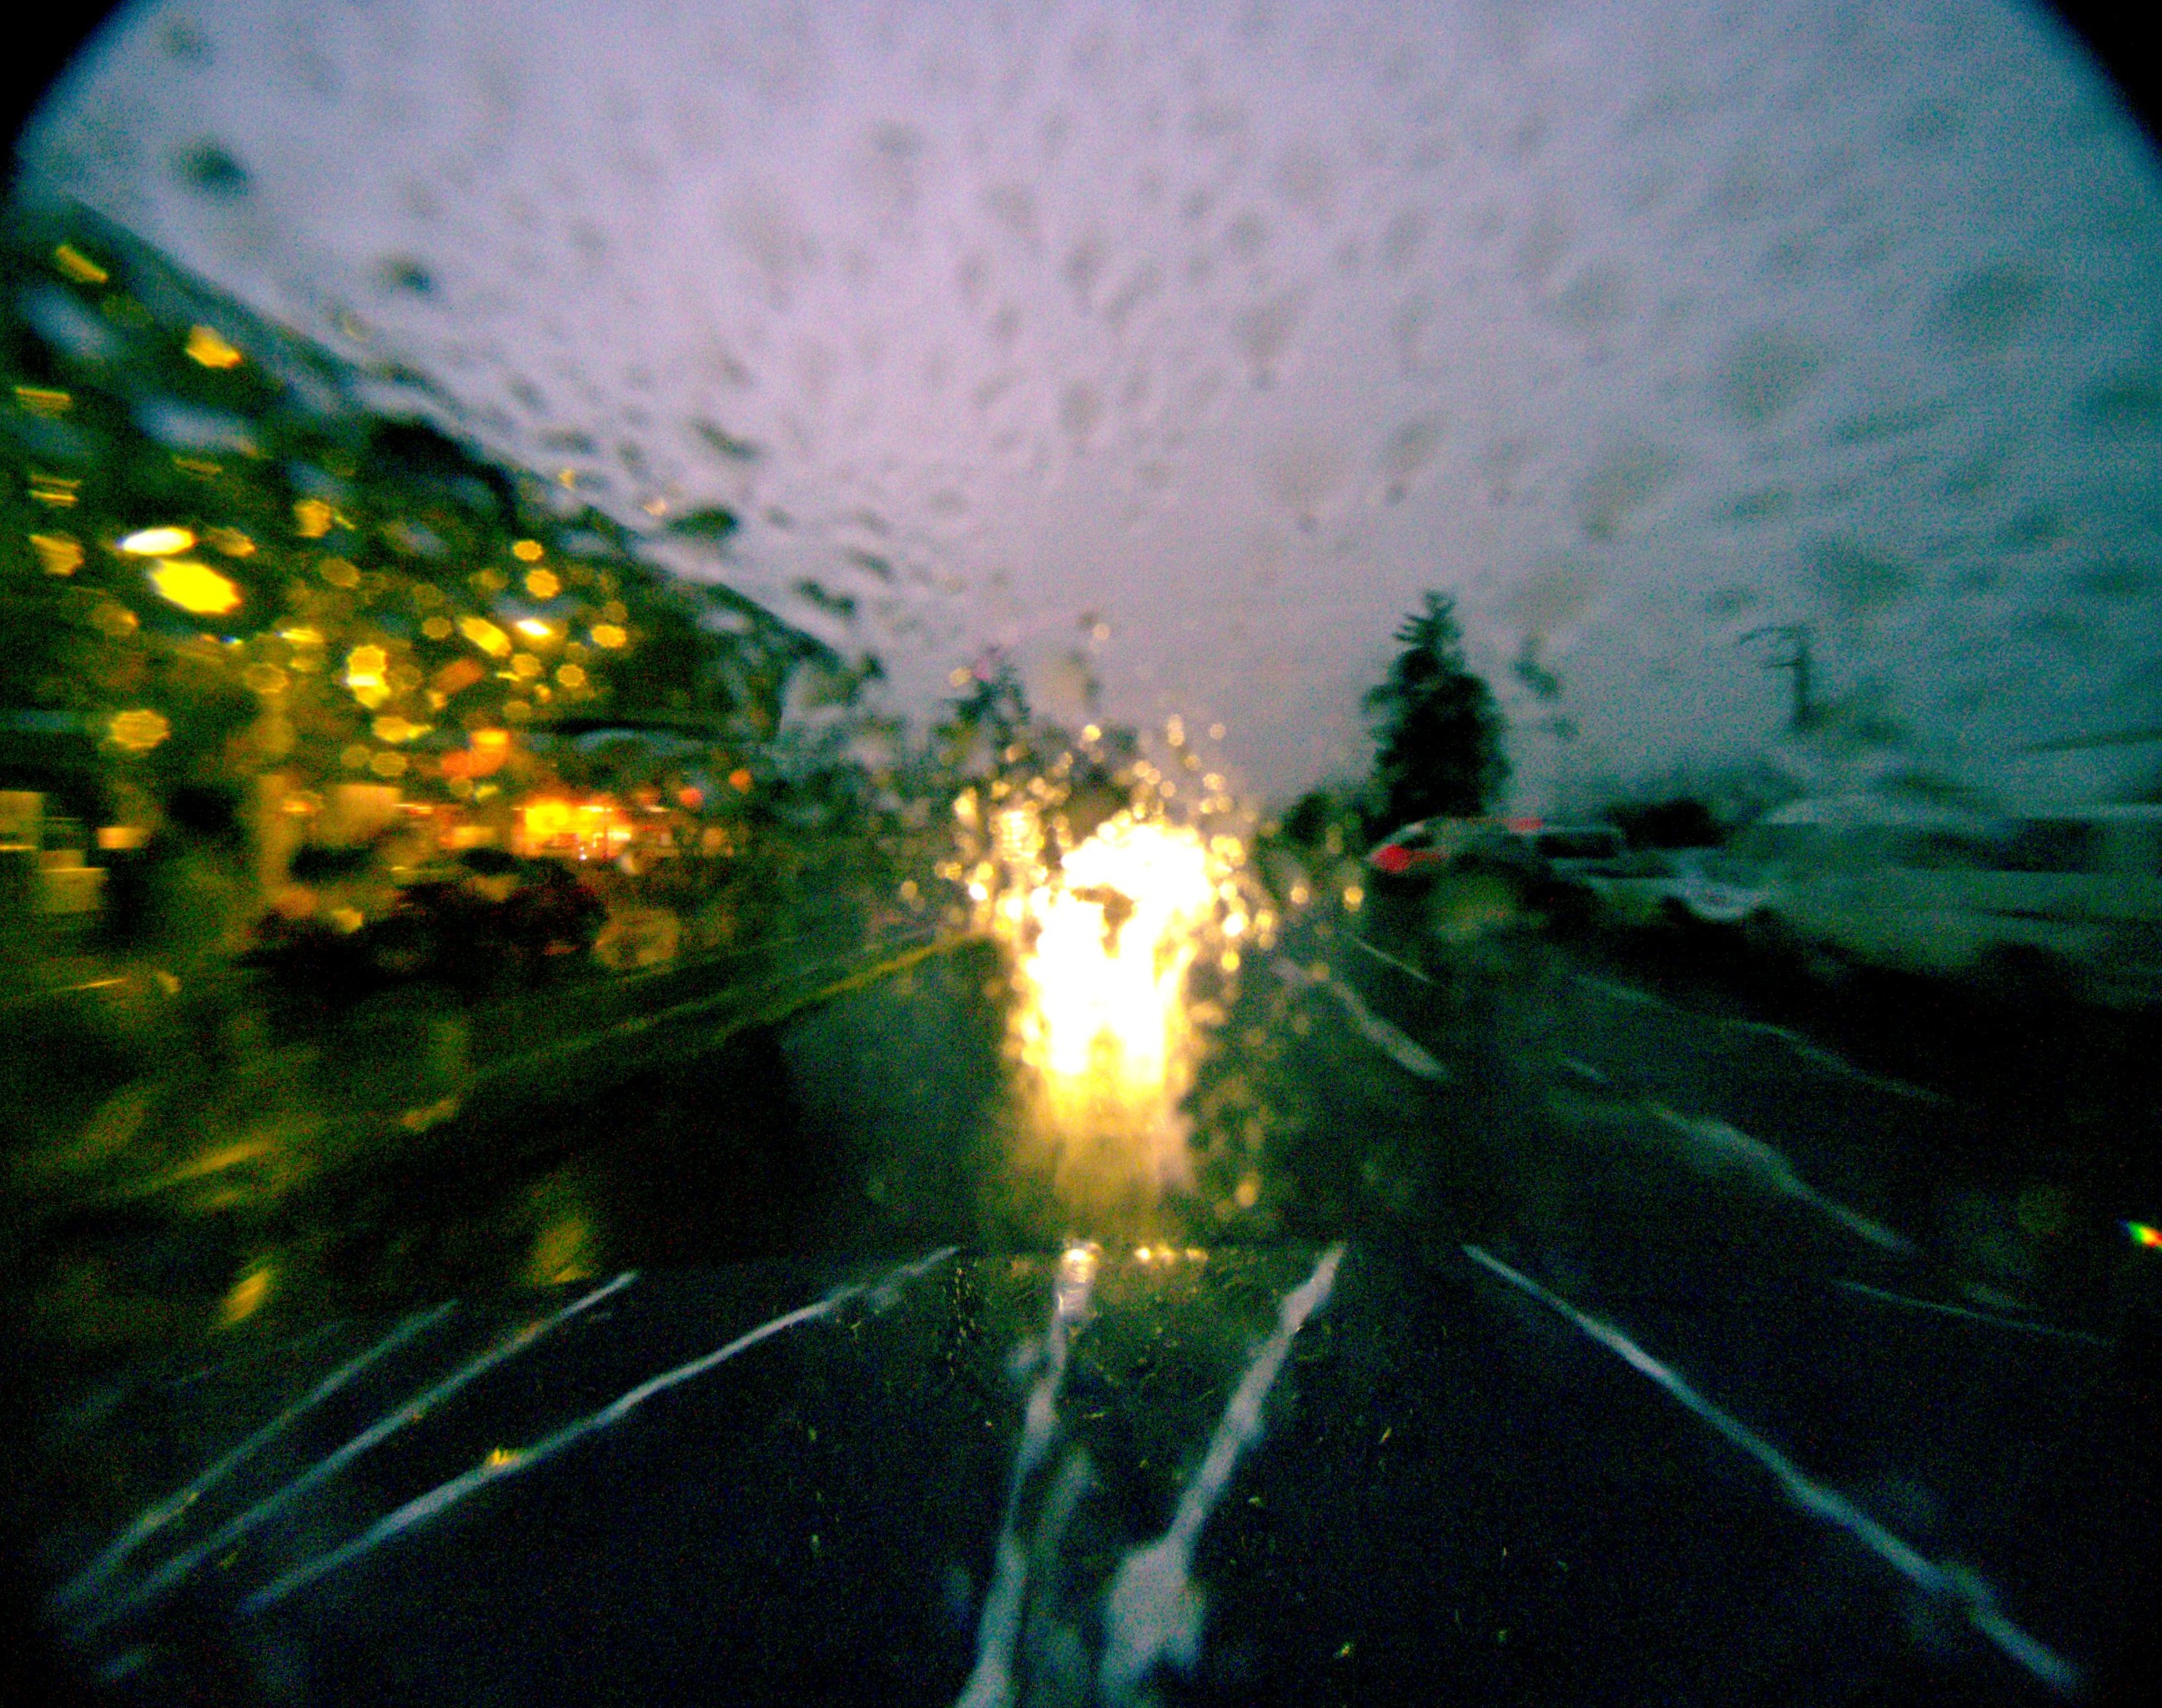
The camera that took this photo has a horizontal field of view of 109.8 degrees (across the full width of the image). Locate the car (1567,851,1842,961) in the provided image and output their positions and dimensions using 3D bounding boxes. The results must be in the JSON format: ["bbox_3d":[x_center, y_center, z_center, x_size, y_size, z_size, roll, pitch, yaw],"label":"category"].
[{"bbox_3d":[9.435,0.673,11.952,1.652,1.404,3.842,0,1,10],"label":"car"}]

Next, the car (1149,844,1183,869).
[{"bbox_3d":[5.472,0.129,49.271,2.015,1.484,4.000,0,1,4],"label":"car"}]

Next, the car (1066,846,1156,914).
[{"bbox_3d":[0.798,0.564,19.183,2.015,1.484,4.000,-1,1,4],"label":"car"}]

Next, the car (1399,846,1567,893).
[{"bbox_3d":[13.821,0.499,26.413,4.758,1.474,1.956,1,1,8],"label":"car"}]

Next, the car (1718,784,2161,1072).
[{"bbox_3d":[8.656,0.465,7.325,1.838,2.002,4.486,0,1,10],"label":"car"}]

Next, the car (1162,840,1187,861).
[{"bbox_3d":[7.752,-0.336,62.846,1.888,1.618,4.002,-1,1,8],"label":"car"}]

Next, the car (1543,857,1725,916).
[{"bbox_3d":[13.404,0.778,18.564,3.310,1.321,1.480,-1,1,4],"label":"car"}]

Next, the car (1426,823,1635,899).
[{"bbox_3d":[13.845,0.184,23.712,5.155,2.138,2.059,1,1,8],"label":"car"}]

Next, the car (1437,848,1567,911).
[{"bbox_3d":[10.419,0.587,19.099,1.654,1.411,3.745,1,0,9],"label":"car"}]

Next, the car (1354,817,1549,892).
[{"bbox_3d":[13.763,-0.019,28.646,6.167,2.617,2.177,1,1,8],"label":"car"}]

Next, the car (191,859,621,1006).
[{"bbox_3d":[-8.284,0.819,9.956,1.575,1.388,4.170,1,1,8],"label":"car"}]

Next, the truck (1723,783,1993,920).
[{"bbox_3d":[22.323,-0.118,22.364,2.035,3.435,5.853,2,1,4],"label":"truck"}]

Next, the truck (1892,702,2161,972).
[{"bbox_3d":[15.249,-0.217,9.636,6.872,3.124,2.335,0,1,7],"label":"truck"}]

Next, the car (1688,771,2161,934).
[{"bbox_3d":[14.921,-0.041,13.620,6.043,2.623,2.196,0,1,6],"label":"car"}]

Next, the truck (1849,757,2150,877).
[{"bbox_3d":[36.274,-1.457,30.217,8.709,4.237,3.005,-2,2,-3],"label":"truck"}]

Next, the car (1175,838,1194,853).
[{"bbox_3d":[11.049,-0.916,81.647,1.889,1.618,4.001,-1,1,6],"label":"car"}]
